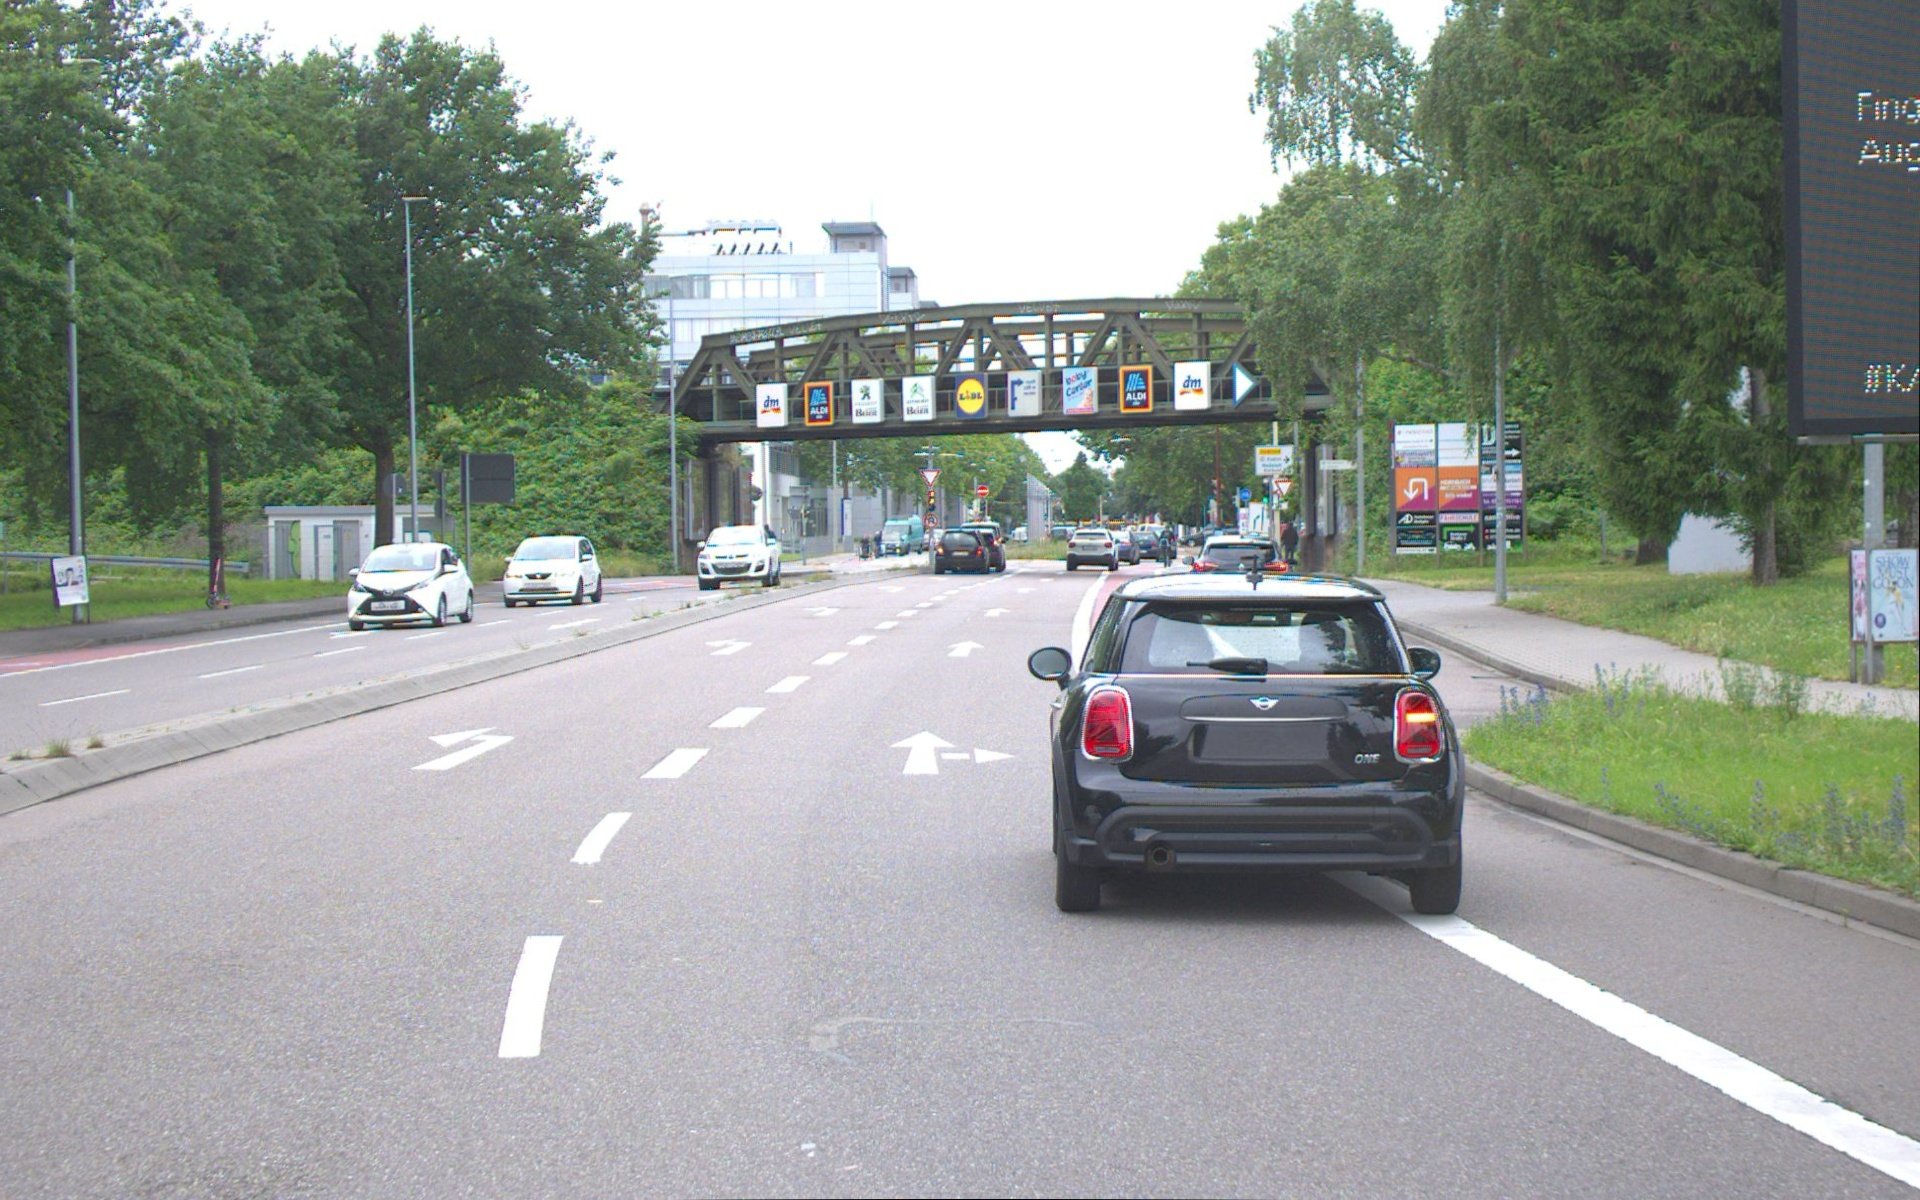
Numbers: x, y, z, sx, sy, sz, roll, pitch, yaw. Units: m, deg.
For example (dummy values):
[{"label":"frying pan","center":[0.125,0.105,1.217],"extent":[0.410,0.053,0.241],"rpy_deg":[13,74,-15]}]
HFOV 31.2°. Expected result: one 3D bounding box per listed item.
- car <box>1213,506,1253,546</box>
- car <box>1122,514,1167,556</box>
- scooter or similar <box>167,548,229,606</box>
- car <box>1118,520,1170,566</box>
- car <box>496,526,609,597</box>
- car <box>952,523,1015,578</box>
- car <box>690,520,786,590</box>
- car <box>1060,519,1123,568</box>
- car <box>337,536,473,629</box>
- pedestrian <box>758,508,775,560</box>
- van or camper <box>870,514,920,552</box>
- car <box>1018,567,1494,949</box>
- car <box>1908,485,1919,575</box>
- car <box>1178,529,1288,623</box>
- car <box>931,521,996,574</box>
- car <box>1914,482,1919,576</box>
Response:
[{"label":"car","center":[13.420,-3.649,168.883],"extent":[1.950,1.809,4.000],"rpy_deg":[0,3,5]},{"label":"car","center":[8.572,-3.025,159.434],"extent":[1.950,1.809,4.000],"rpy_deg":[0,3,5]},{"label":"scooter or similar","center":[-15.714,-0.484,70.936],"extent":[0.762,1.086,2.007],"rpy_deg":[0,3,2]},{"label":"car","center":[7.210,-2.234,134.334],"extent":[1.884,1.656,3.782],"rpy_deg":[0,3,5]},{"label":"car","center":[-8.706,-0.848,73.702],"extent":[1.720,1.366,3.440],"rpy_deg":[0,3,5]},{"label":"car","center":[0.877,-1.805,123.801],"extent":[1.950,1.809,4.000],"rpy_deg":[0,3,5]},{"label":"car","center":[-5.771,-1.192,89.614],"extent":[1.940,1.670,3.782],"rpy_deg":[0,3,5]},{"label":"car","center":[4.880,-2.108,127.210],"extent":[2.136,1.656,3.782],"rpy_deg":[0,3,5]},{"label":"car","center":[-9.583,-0.324,59.565],"extent":[1.754,1.441,3.339],"rpy_deg":[0,3,1]},{"label":"pedestrian","center":[-7.558,-2.576,134.520],"extent":[0.540,2.006,0.484],"rpy_deg":[1,3,14]},{"label":"van or camper","center":[-4.377,-4.543,231.901],"extent":[1.994,2.477,7.025],"rpy_deg":[-1,1,10]},{"label":"car","center":[1.215,0.615,15.583],"extent":[1.786,1.411,3.643],"rpy_deg":[3,1,0]},{"label":"car","center":[17.646,-1.139,56.157],"extent":[3.988,1.430,1.730],"rpy_deg":[1,3,9]},{"label":"car","center":[4.674,-0.433,58.487],"extent":[1.757,1.429,4.000],"rpy_deg":[-1,2,6]},{"label":"car","center":[0.135,-1.812,117.252],"extent":[1.884,1.656,3.782],"rpy_deg":[0,3,5]},{"label":"car","center":[16.640,-1.052,52.153],"extent":[3.988,1.430,1.730],"rpy_deg":[1,3,9]}]
